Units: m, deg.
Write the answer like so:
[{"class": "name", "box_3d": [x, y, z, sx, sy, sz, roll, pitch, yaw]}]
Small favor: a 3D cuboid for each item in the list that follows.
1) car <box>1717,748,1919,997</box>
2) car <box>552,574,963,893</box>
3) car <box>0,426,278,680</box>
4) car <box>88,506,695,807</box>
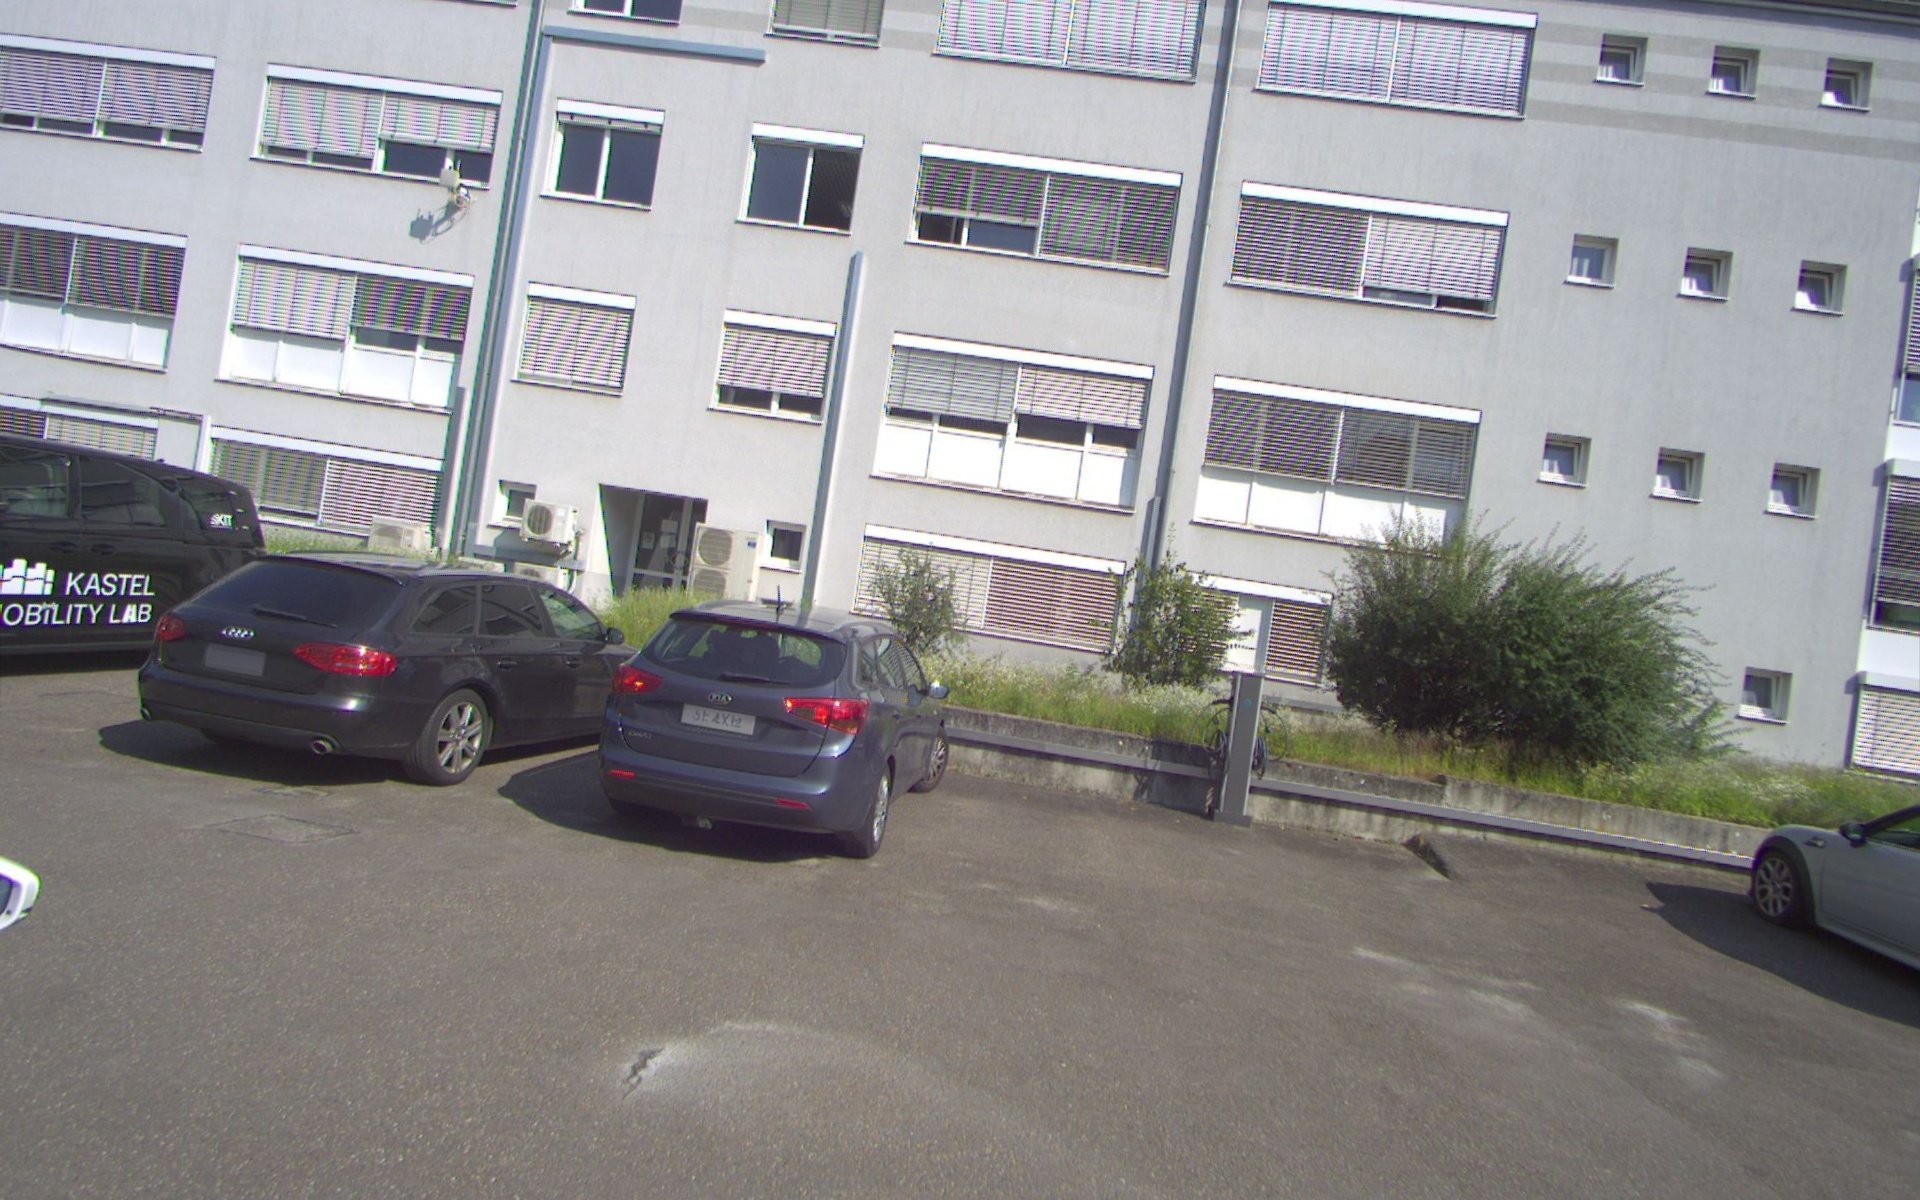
[{"class": "car", "box_3d": [7.350, 2.071, 7.010, 1.627, 1.454, 3.586, 9, -1, 8]}, {"class": "car", "box_3d": [-1.138, 0.809, 7.605, 1.710, 1.495, 4.064, 9, -1, 6]}, {"class": "car", "box_3d": [-8.021, -0.462, 8.027, 1.880, 1.880, 4.351, 9, -1, 1]}, {"class": "car", "box_3d": [-3.817, 0.406, 7.808, 1.658, 1.454, 4.251, 9, -1, 9]}]
